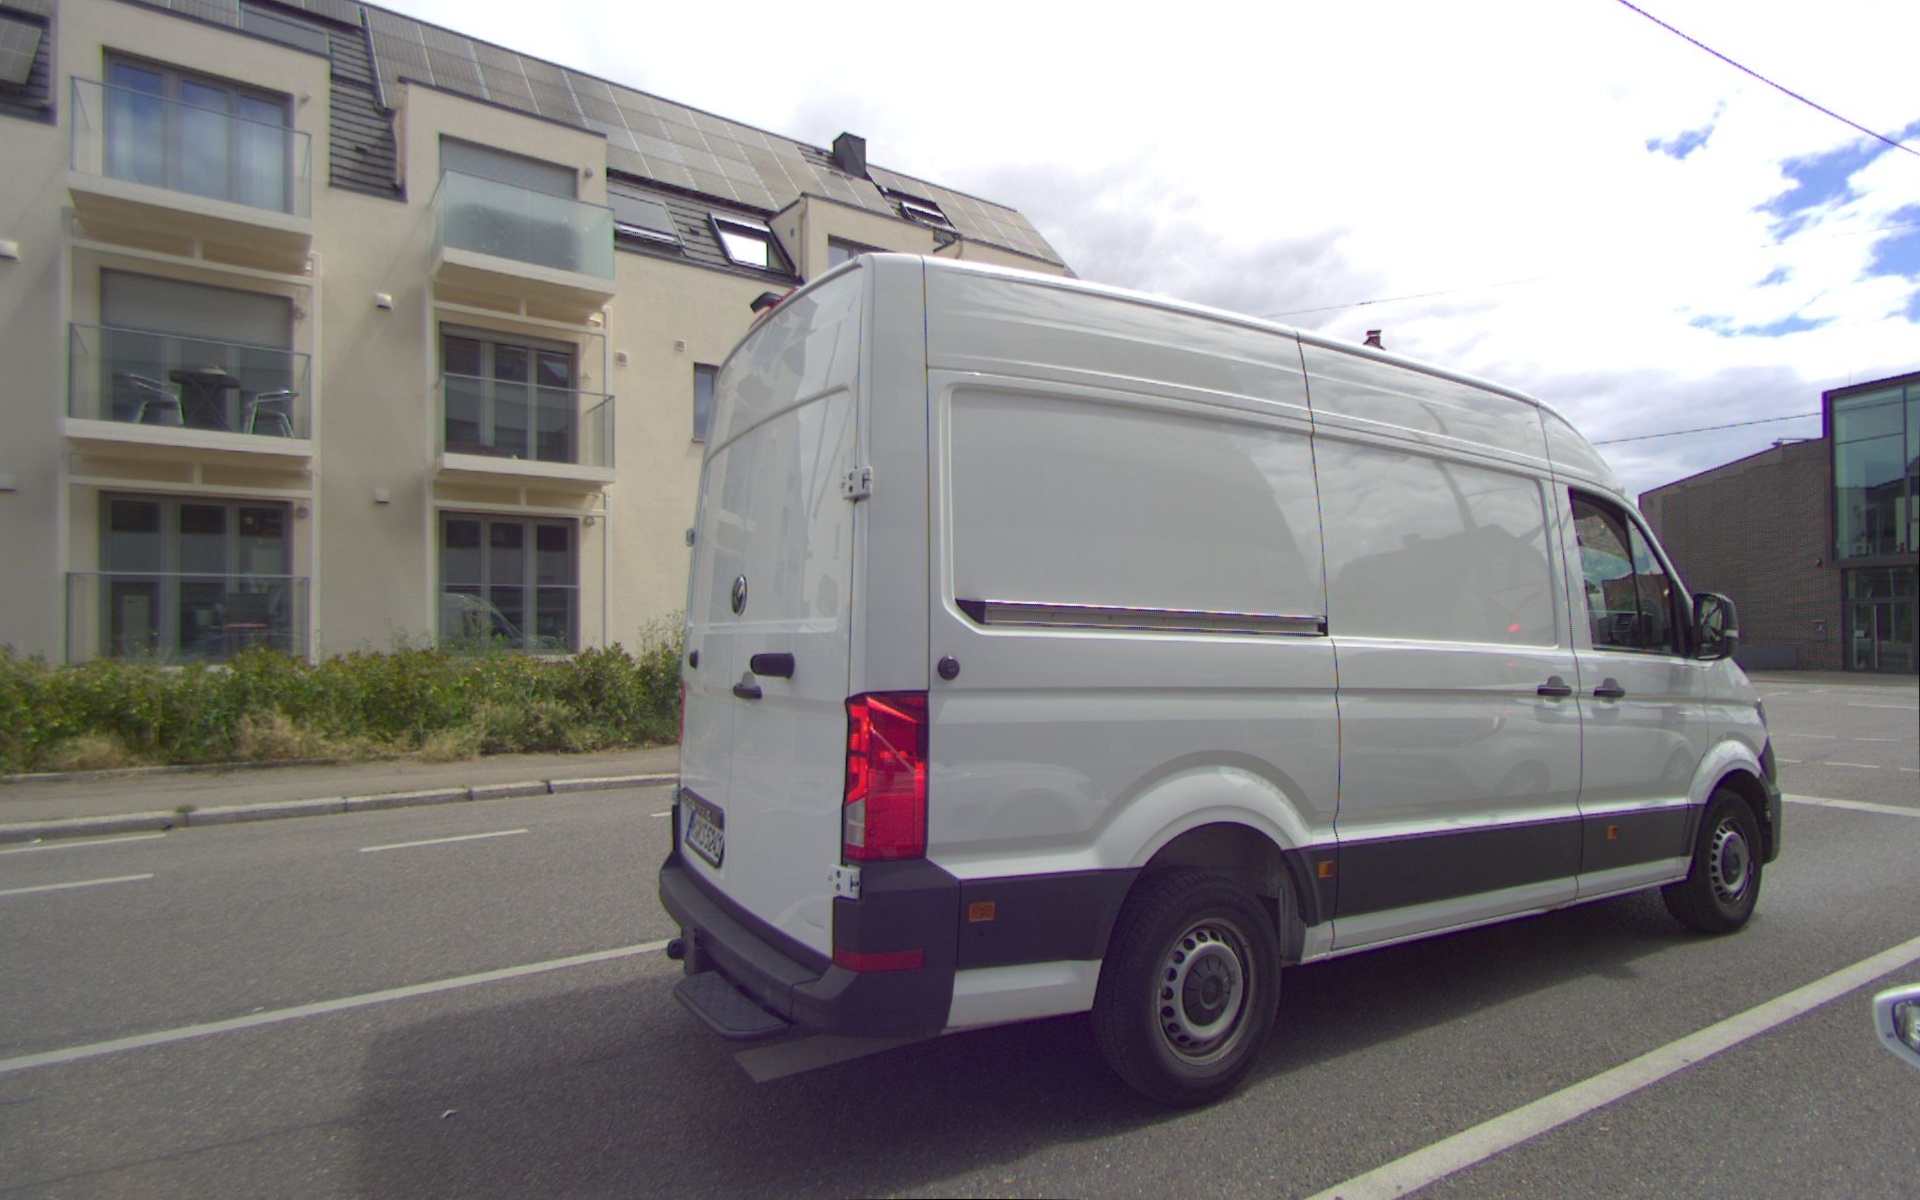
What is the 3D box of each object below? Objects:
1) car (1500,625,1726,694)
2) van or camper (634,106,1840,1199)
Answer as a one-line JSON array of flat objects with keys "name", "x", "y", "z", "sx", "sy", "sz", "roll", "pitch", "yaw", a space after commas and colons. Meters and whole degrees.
[{"name": "car", "x": 16.575, "y": 1.446, "z": 25.699, "sx": 1.879, "sy": 1.475, "sz": 4.468, "roll": 1, "pitch": 0, "yaw": -36}, {"name": "van or camper", "x": 1.710, "y": 0.267, "z": 4.744, "sx": 5.856, "sy": 2.614, "sz": 2.014, "roll": 2, "pitch": -3, "yaw": -32}]
